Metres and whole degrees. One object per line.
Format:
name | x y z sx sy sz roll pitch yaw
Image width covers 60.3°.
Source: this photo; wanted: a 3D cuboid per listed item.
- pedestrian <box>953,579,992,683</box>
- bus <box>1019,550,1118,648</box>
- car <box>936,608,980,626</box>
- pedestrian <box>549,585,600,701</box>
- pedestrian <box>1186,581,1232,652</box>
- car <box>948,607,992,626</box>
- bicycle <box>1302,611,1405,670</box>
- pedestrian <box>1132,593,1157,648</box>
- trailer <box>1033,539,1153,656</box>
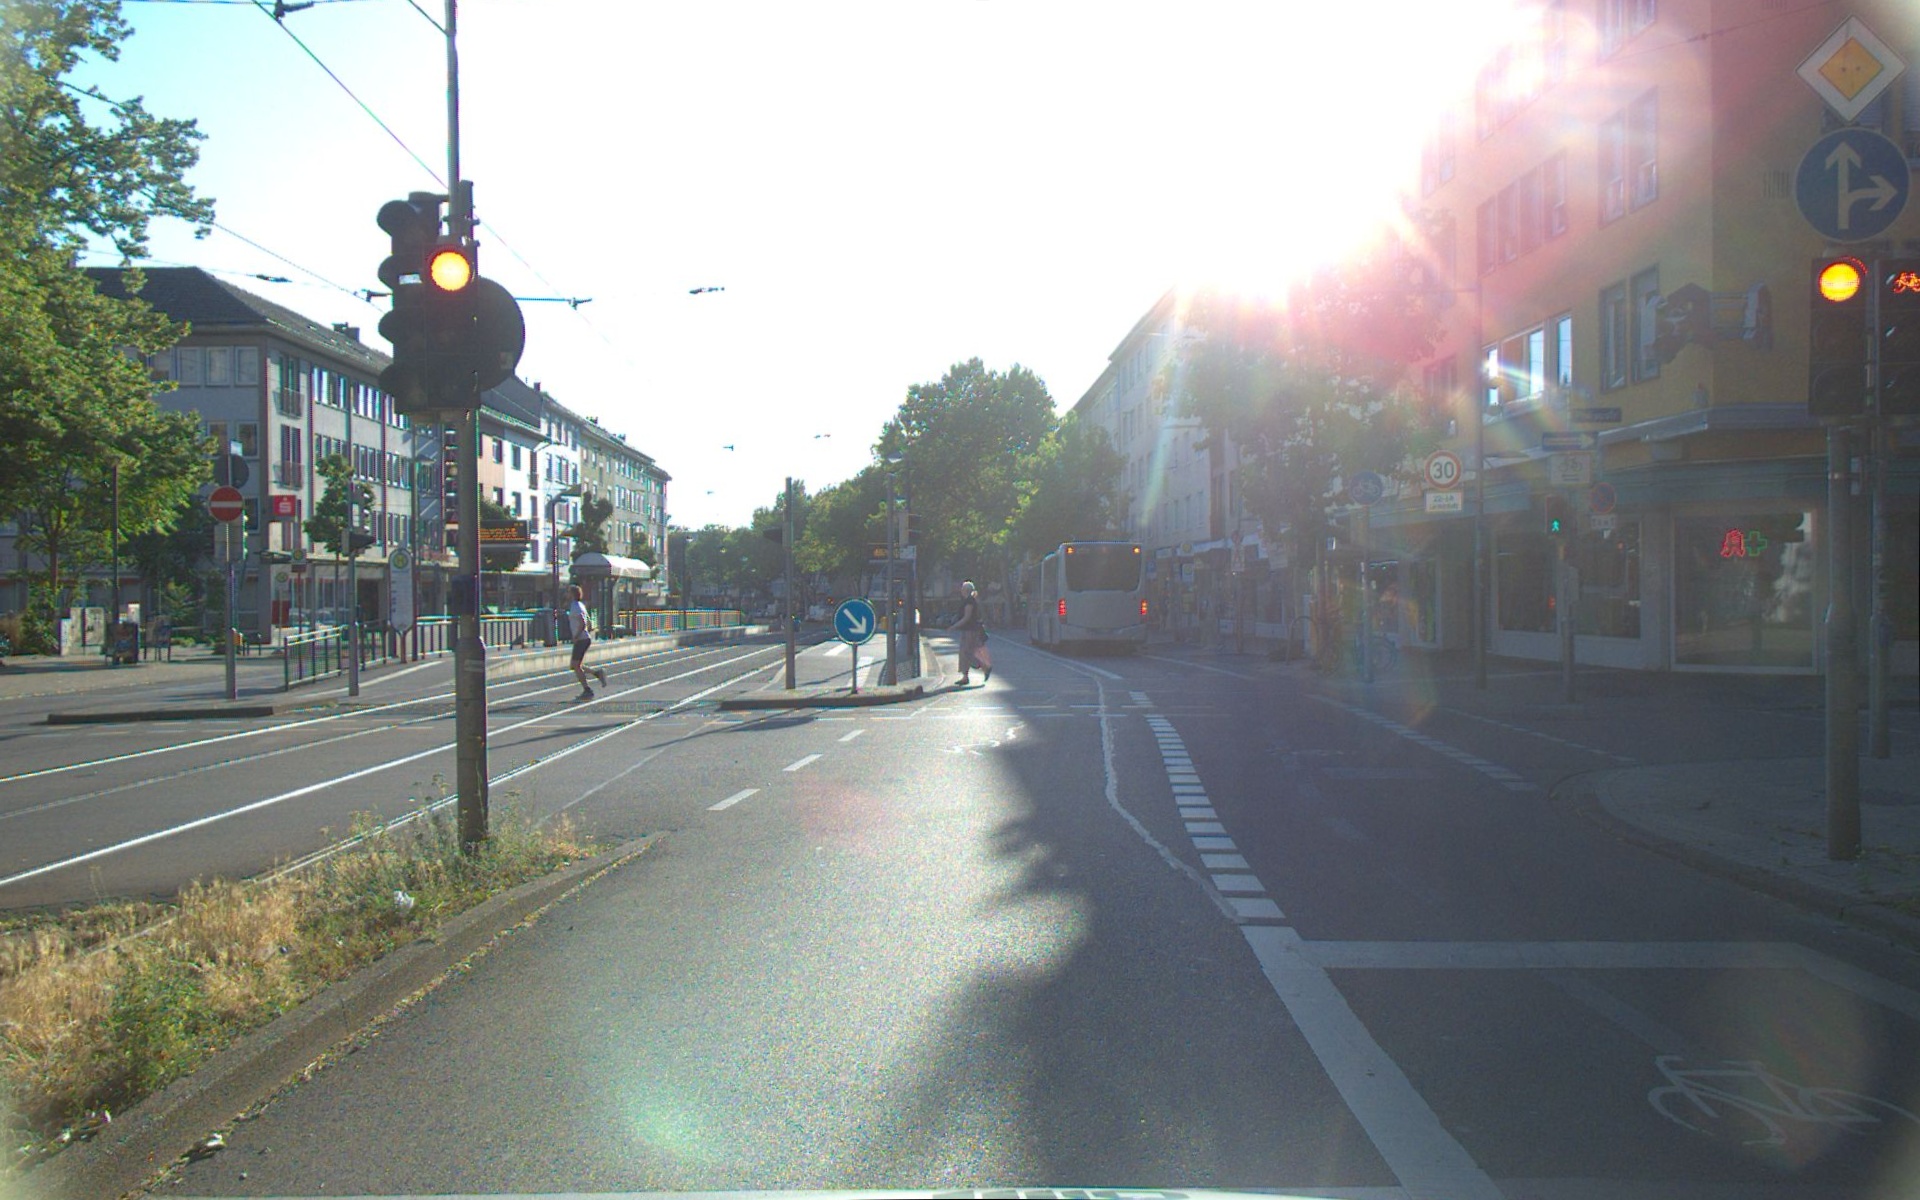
pedestrian | 0.213 0.534 28.819 0.666 1.801 0.687 0 0 0
bus | 3.747 -0.025 59.009 2.755 3.156 9.092 1 0 -1
car | -0.187 1.647 161.295 3.848 1.729 1.815 -1 0 -30
pedestrian | -6.083 0.664 26.104 0.666 1.801 0.686 -1 0 -4
pedestrian | 7.339 0.482 48.740 0.943 2.049 0.908 1 0 -30
car | 0.981 1.608 158.509 3.848 1.729 1.815 -1 0 -30
bicycle | 7.467 0.761 31.426 1.737 1.039 0.694 -2 0 -2
pedestrian | 5.623 0.634 50.440 0.662 1.656 0.655 1 0 0
trailer | 3.869 -0.054 50.088 2.755 3.165 8.792 1 0 -1
